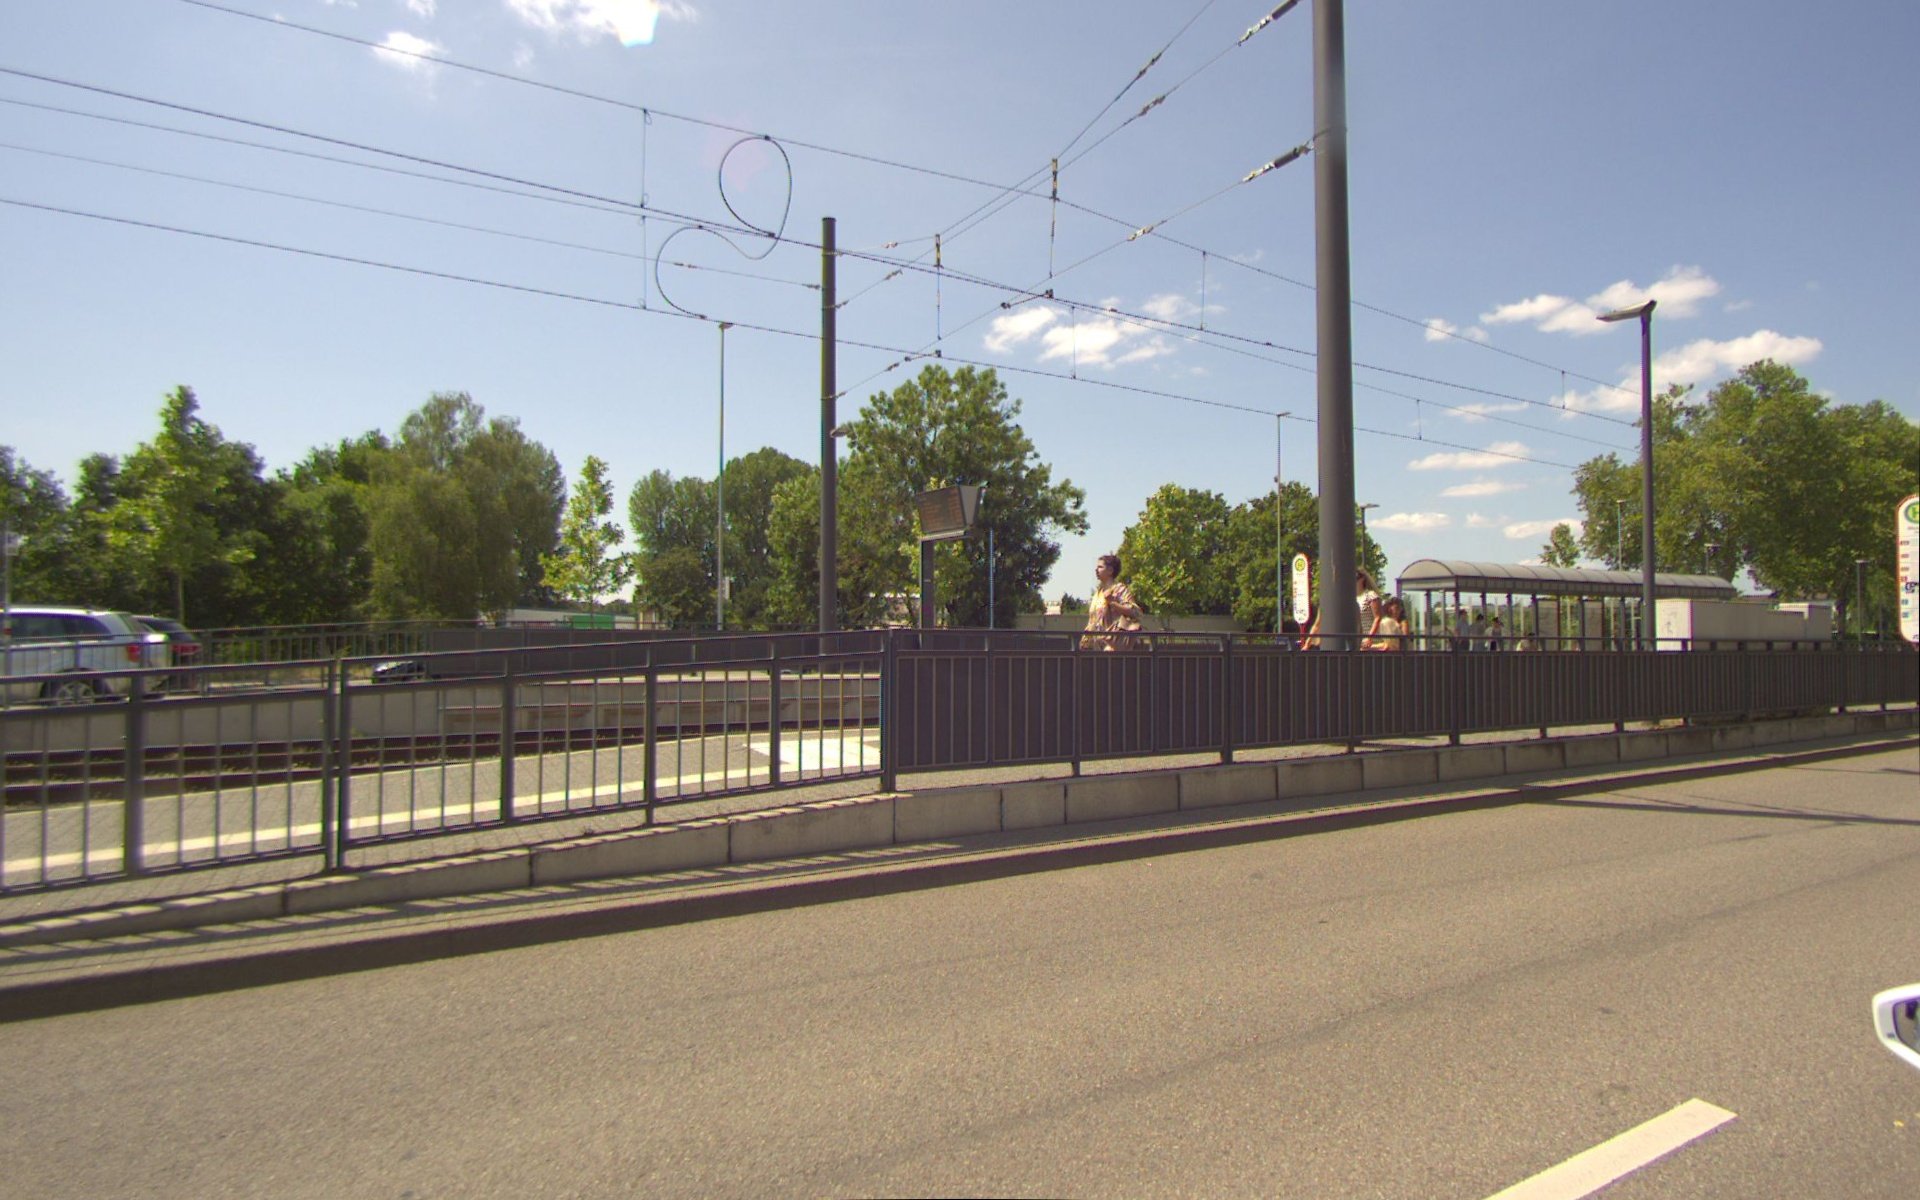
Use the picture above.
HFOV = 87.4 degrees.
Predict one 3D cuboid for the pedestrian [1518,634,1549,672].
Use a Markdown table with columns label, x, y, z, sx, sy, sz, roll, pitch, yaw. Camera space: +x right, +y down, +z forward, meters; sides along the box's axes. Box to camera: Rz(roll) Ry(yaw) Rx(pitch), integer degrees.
| label | x | y | z | sx | sy | sz | roll | pitch | yaw |
| --- | --- | --- | --- | --- | --- | --- | --- | --- | --- |
| pedestrian | 17.381 | 1.602 | 30.425 | 0.631 | 1.109 | 0.574 | 1 | -1 | -30 |

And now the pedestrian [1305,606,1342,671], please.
| label | x | y | z | sx | sy | sz | roll | pitch | yaw |
| --- | --- | --- | --- | --- | --- | --- | --- | --- | --- |
| pedestrian | 9.337 | 0.984 | 25.823 | 0.799 | 1.659 | 0.553 | 1 | -1 | -38 |

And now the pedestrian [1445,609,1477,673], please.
| label | x | y | z | sx | sy | sz | roll | pitch | yaw |
| --- | --- | --- | --- | --- | --- | --- | --- | --- | --- |
| pedestrian | 14.032 | 1.143 | 28.141 | 0.566 | 1.751 | 0.739 | 0 | -1 | 7 |

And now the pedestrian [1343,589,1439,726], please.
| label | x | y | z | sx | sy | sz | roll | pitch | yaw |
| --- | --- | --- | --- | --- | --- | --- | --- | --- | --- |
| pedestrian | 4.460 | 0.580 | 10.402 | 0.712 | 1.363 | 0.610 | 2 | -1 | -32 |

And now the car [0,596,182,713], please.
| label | x | y | z | sx | sy | sz | roll | pitch | yaw |
| --- | --- | --- | --- | --- | --- | --- | --- | --- | --- |
| car | -14.265 | 0.772 | 14.942 | 3.952 | 1.650 | 1.985 | 1 | -1 | -29 |

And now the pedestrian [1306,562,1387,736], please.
| label | x | y | z | sx | sy | sz | roll | pitch | yaw |
| --- | --- | --- | --- | --- | --- | --- | --- | --- | --- |
| pedestrian | 3.689 | 0.460 | 9.603 | 0.551 | 1.598 | 0.494 | 1 | -1 | -32 |

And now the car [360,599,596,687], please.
| label | x | y | z | sx | sy | sz | roll | pitch | yaw |
| --- | --- | --- | --- | --- | --- | --- | --- | --- | --- |
| car | -9.964 | 0.866 | 20.911 | 4.229 | 1.650 | 1.985 | 1 | -1 | -29 |

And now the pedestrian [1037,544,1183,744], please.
| label | x | y | z | sx | sy | sz | roll | pitch | yaw |
| --- | --- | --- | --- | --- | --- | --- | --- | --- | --- |
| pedestrian | 1.305 | 0.372 | 8.801 | 0.914 | 1.626 | 0.886 | 1 | -1 | -31 |

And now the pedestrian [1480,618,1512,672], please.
| label | x | y | z | sx | sy | sz | roll | pitch | yaw |
| --- | --- | --- | --- | --- | --- | --- | --- | --- | --- |
| pedestrian | 15.753 | 1.317 | 29.539 | 0.631 | 1.553 | 0.574 | 1 | -1 | -30 |

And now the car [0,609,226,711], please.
| label | x | y | z | sx | sy | sz | roll | pitch | yaw |
| --- | --- | --- | --- | --- | --- | --- | --- | --- | --- |
| car | -15.351 | 1.000 | 17.440 | 3.952 | 1.650 | 1.985 | 1 | -1 | -30 |

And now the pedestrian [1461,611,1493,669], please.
| label | x | y | z | sx | sy | sz | roll | pitch | yaw |
| --- | --- | --- | --- | --- | --- | --- | --- | --- | --- |
| pedestrian | 15.002 | 1.158 | 29.180 | 0.566 | 1.660 | 0.829 | 0 | -1 | 7 |

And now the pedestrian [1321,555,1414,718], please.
| label | x | y | z | sx | sy | sz | roll | pitch | yaw |
| --- | --- | --- | --- | --- | --- | --- | --- | --- | --- |
| pedestrian | 4.429 | 0.389 | 10.926 | 0.712 | 1.703 | 0.610 | 2 | -1 | -32 |

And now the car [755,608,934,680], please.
| label | x | y | z | sx | sy | sz | roll | pitch | yaw |
| --- | --- | --- | --- | --- | --- | --- | --- | --- | --- |
| car | -2.848 | 1.070 | 24.936 | 3.952 | 1.650 | 1.985 | 2 | -1 | -29 |
